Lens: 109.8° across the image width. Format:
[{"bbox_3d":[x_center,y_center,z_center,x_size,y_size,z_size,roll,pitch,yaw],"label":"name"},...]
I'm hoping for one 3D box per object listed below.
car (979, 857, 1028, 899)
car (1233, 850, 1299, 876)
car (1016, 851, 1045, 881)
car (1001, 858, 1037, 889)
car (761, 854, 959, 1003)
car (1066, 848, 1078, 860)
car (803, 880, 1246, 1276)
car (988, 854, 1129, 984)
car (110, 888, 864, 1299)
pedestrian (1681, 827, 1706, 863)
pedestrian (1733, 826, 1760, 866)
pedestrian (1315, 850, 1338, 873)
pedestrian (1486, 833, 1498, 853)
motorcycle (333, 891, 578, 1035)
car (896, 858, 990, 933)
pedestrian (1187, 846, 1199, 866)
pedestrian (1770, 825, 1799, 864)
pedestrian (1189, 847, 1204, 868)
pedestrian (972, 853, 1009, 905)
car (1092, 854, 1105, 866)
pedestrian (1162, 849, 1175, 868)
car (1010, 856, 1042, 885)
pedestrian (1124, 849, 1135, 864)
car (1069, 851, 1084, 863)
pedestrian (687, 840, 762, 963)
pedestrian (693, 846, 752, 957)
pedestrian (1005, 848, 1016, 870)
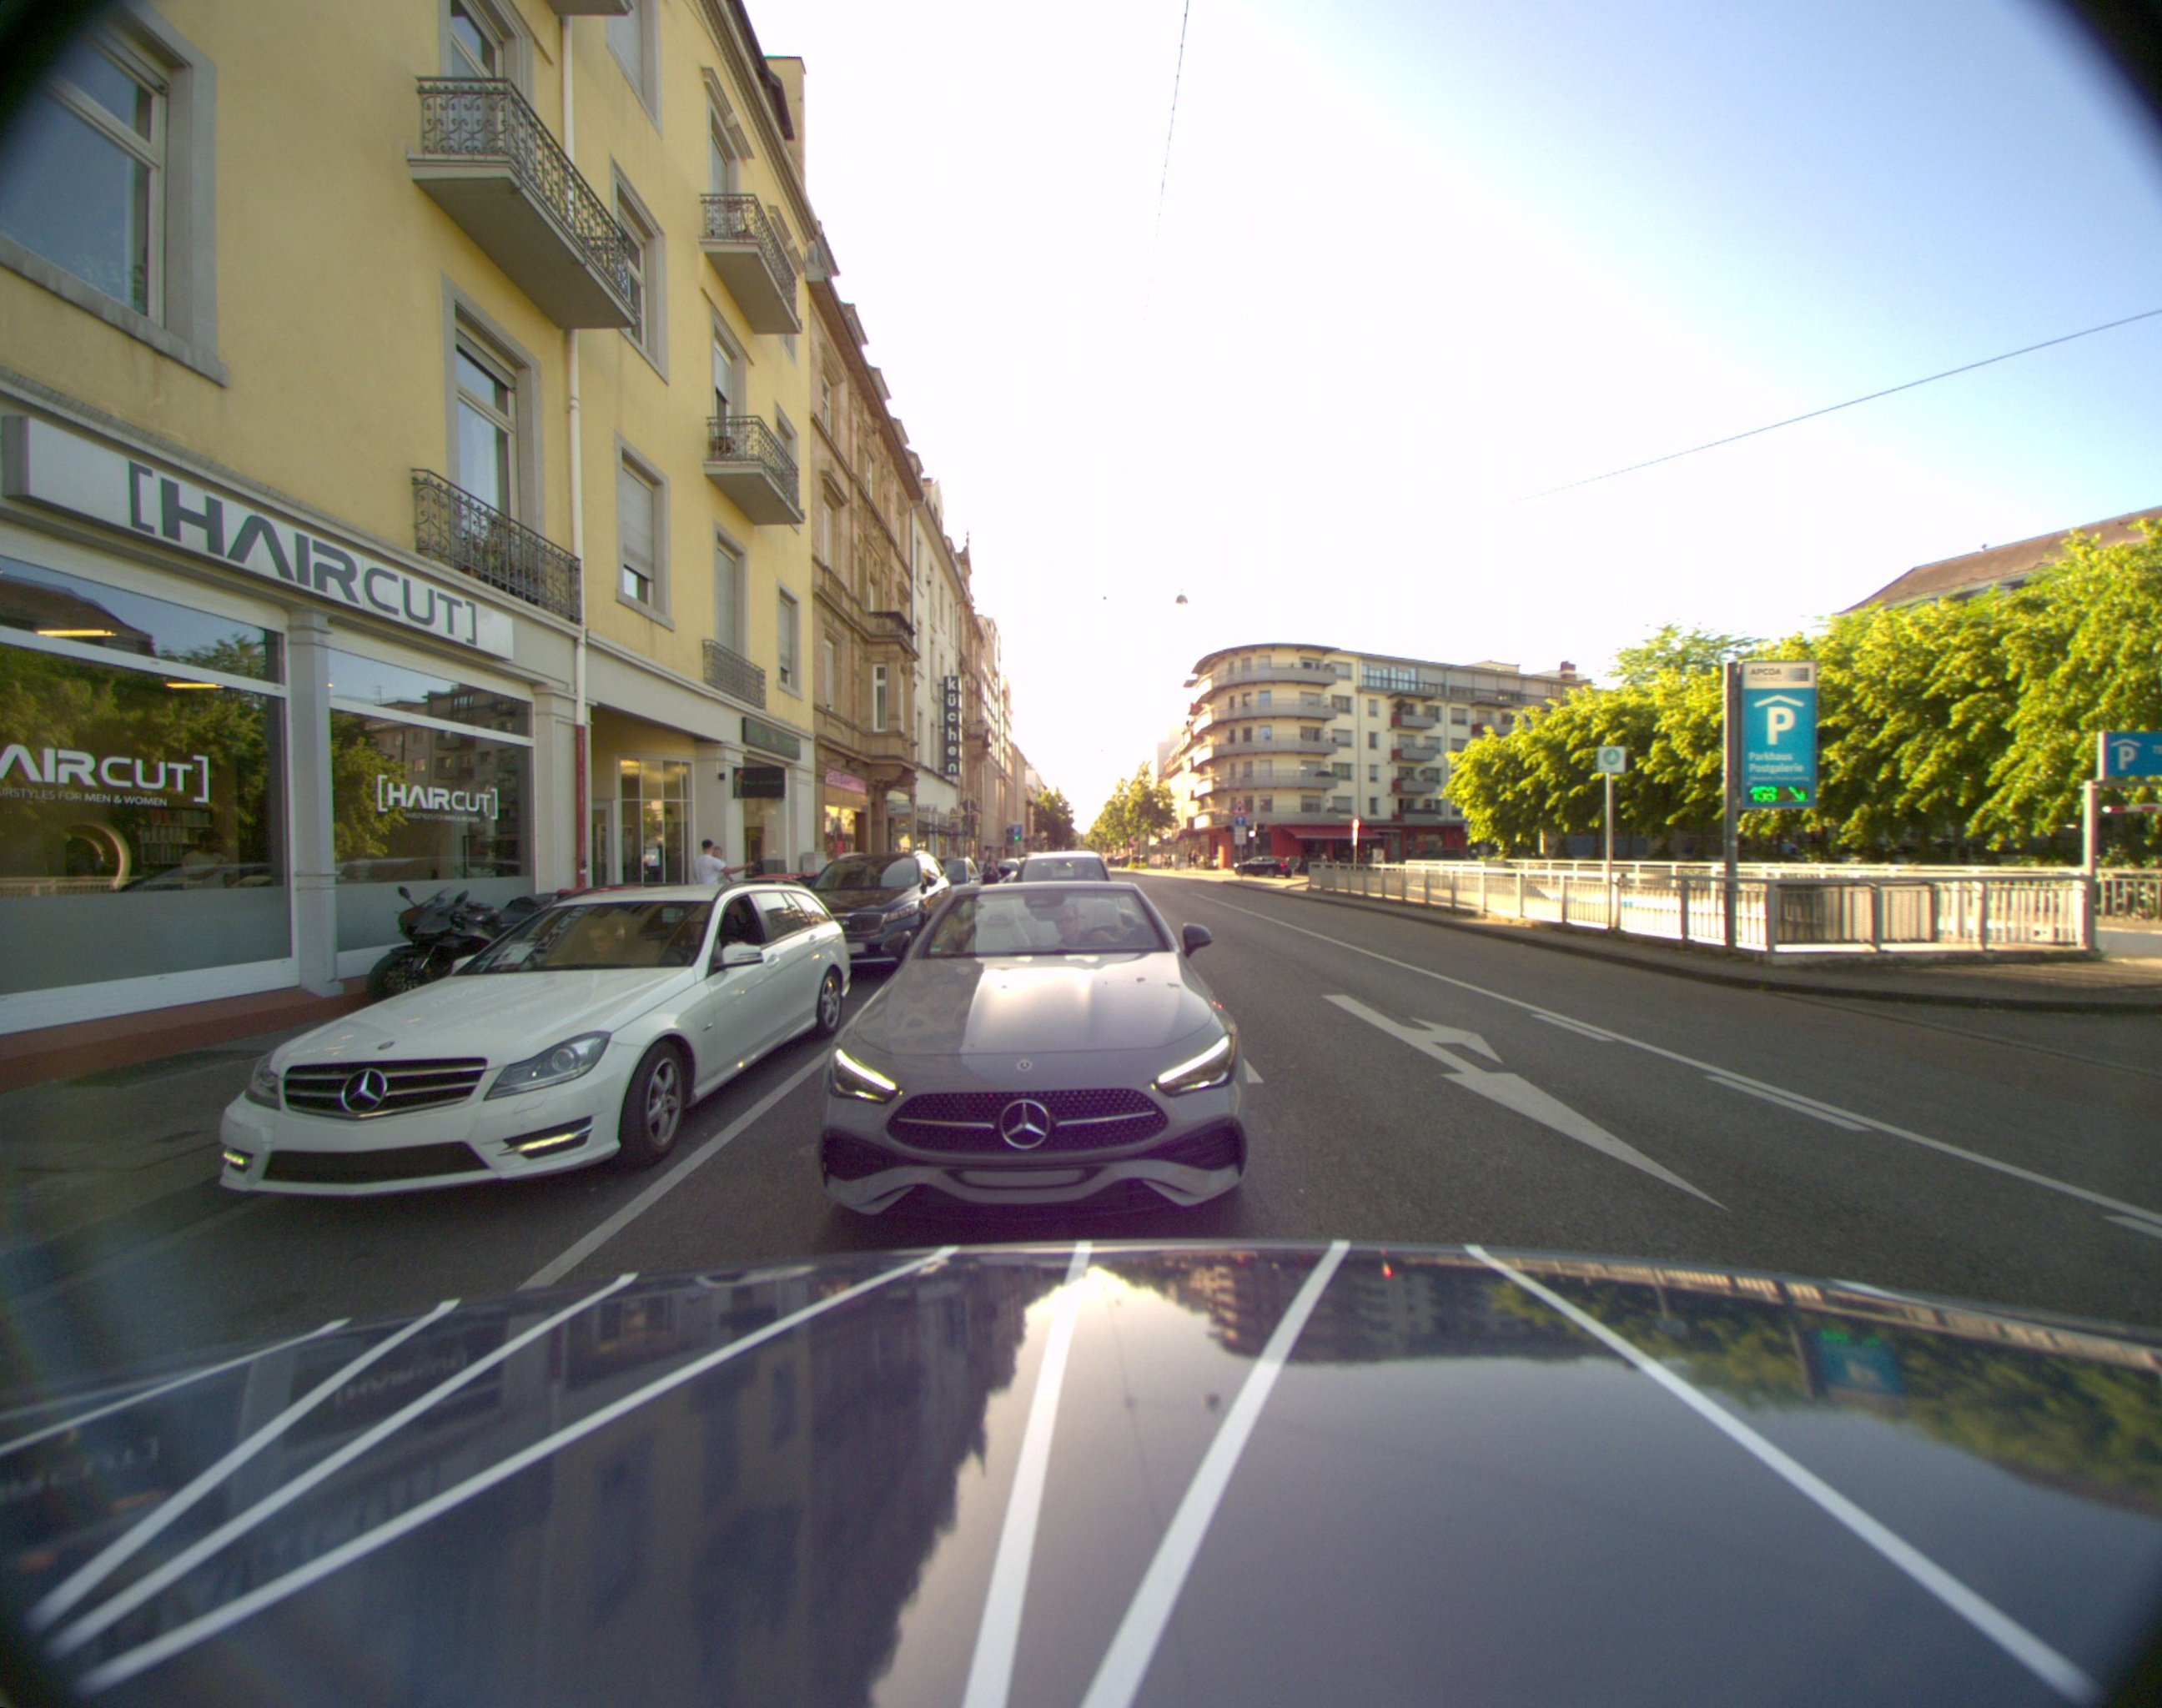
[{"bbox_3d":[-3.022,0.904,30.325,1.695,1.482,3.796,-2,1,-3],"label":"car"},{"bbox_3d":[12.300,0.583,50.704,1.680,1.522,4.237,0,2,-33],"label":"car"},{"bbox_3d":[-3.147,0.717,47.560,1.695,1.670,3.880,-2,1,-3],"label":"car"},{"bbox_3d":[-2.950,0.901,36.694,1.461,1.310,3.363,-2,1,-1],"label":"car"},{"bbox_3d":[-3.011,0.891,11.351,1.806,1.680,4.408,-2,1,-3],"label":"car"},{"bbox_3d":[-1.298,0.039,111.944,1.695,1.635,3.599,-2,1,-1],"label":"car"},{"bbox_3d":[-0.280,0.999,5.370,1.769,1.360,4.471,-2,1,-2],"label":"car"},{"bbox_3d":[-0.363,0.895,12.770,1.866,1.658,4.706,-2,1,-2],"label":"car"},{"bbox_3d":[-3.024,1.074,5.260,1.672,1.364,4.377,-2,1,1],"label":"car"},{"bbox_3d":[31.860,-0.452,39.519,0.748,1.832,0.683,-3,1,-21],"label":"pedestrian"},{"bbox_3d":[32.201,-0.389,36.765,0.748,1.852,0.683,-2,1,-13],"label":"pedestrian"},{"bbox_3d":[17.959,0.554,55.544,1.269,1.656,1.142,-1,1,35],"label":"pedestrian"},{"bbox_3d":[38.367,-0.996,70.939,0.747,1.832,0.684,-2,1,1],"label":"pedestrian"},{"bbox_3d":[-6.253,1.025,7.802,0.735,1.124,2.109,2,1,1],"label":"motorcycle"},{"bbox_3d":[-3.179,0.907,18.002,1.583,1.514,2.998,-2,1,1],"label":"car"},{"bbox_3d":[10.869,0.195,73.947,0.990,1.908,0.790,-2,1,-3],"label":"pedestrian"},{"bbox_3d":[33.757,-0.435,36.456,0.748,1.832,0.683,-2,1,-13],"label":"pedestrian"},{"bbox_3d":[9.965,0.283,65.505,1.060,1.739,0.962,-2,1,1],"label":"pedestrian"},{"bbox_3d":[-3.058,0.832,25.694,0.835,1.709,0.821,-1,1,39],"label":"pedestrian"},{"bbox_3d":[2.833,0.914,121.169,1.836,1.831,3.886,1,1,-2],"label":"car"},{"bbox_3d":[7.919,0.405,68.910,1.068,1.709,1.081,-2,1,5],"label":"pedestrian"},{"bbox_3d":[-2.937,0.867,40.962,1.461,1.391,3.363,-2,1,-1],"label":"car"},{"bbox_3d":[6.093,0.268,95.164,1.221,1.826,1.203,-2,1,2],"label":"pedestrian"},{"bbox_3d":[-0.605,0.356,99.553,1.695,1.437,3.574,-2,1,-3],"label":"car"},{"bbox_3d":[-5.731,0.732,12.219,0.975,1.866,0.534,-3,1,-31],"label":"pedestrian"},{"bbox_3d":[-6.146,0.795,13.073,0.630,1.826,0.770,-2,1,-7],"label":"pedestrian"},{"bbox_3d":[-5.841,0.407,63.087,0.826,1.750,0.823,-2,1,-1],"label":"pedestrian"}]
